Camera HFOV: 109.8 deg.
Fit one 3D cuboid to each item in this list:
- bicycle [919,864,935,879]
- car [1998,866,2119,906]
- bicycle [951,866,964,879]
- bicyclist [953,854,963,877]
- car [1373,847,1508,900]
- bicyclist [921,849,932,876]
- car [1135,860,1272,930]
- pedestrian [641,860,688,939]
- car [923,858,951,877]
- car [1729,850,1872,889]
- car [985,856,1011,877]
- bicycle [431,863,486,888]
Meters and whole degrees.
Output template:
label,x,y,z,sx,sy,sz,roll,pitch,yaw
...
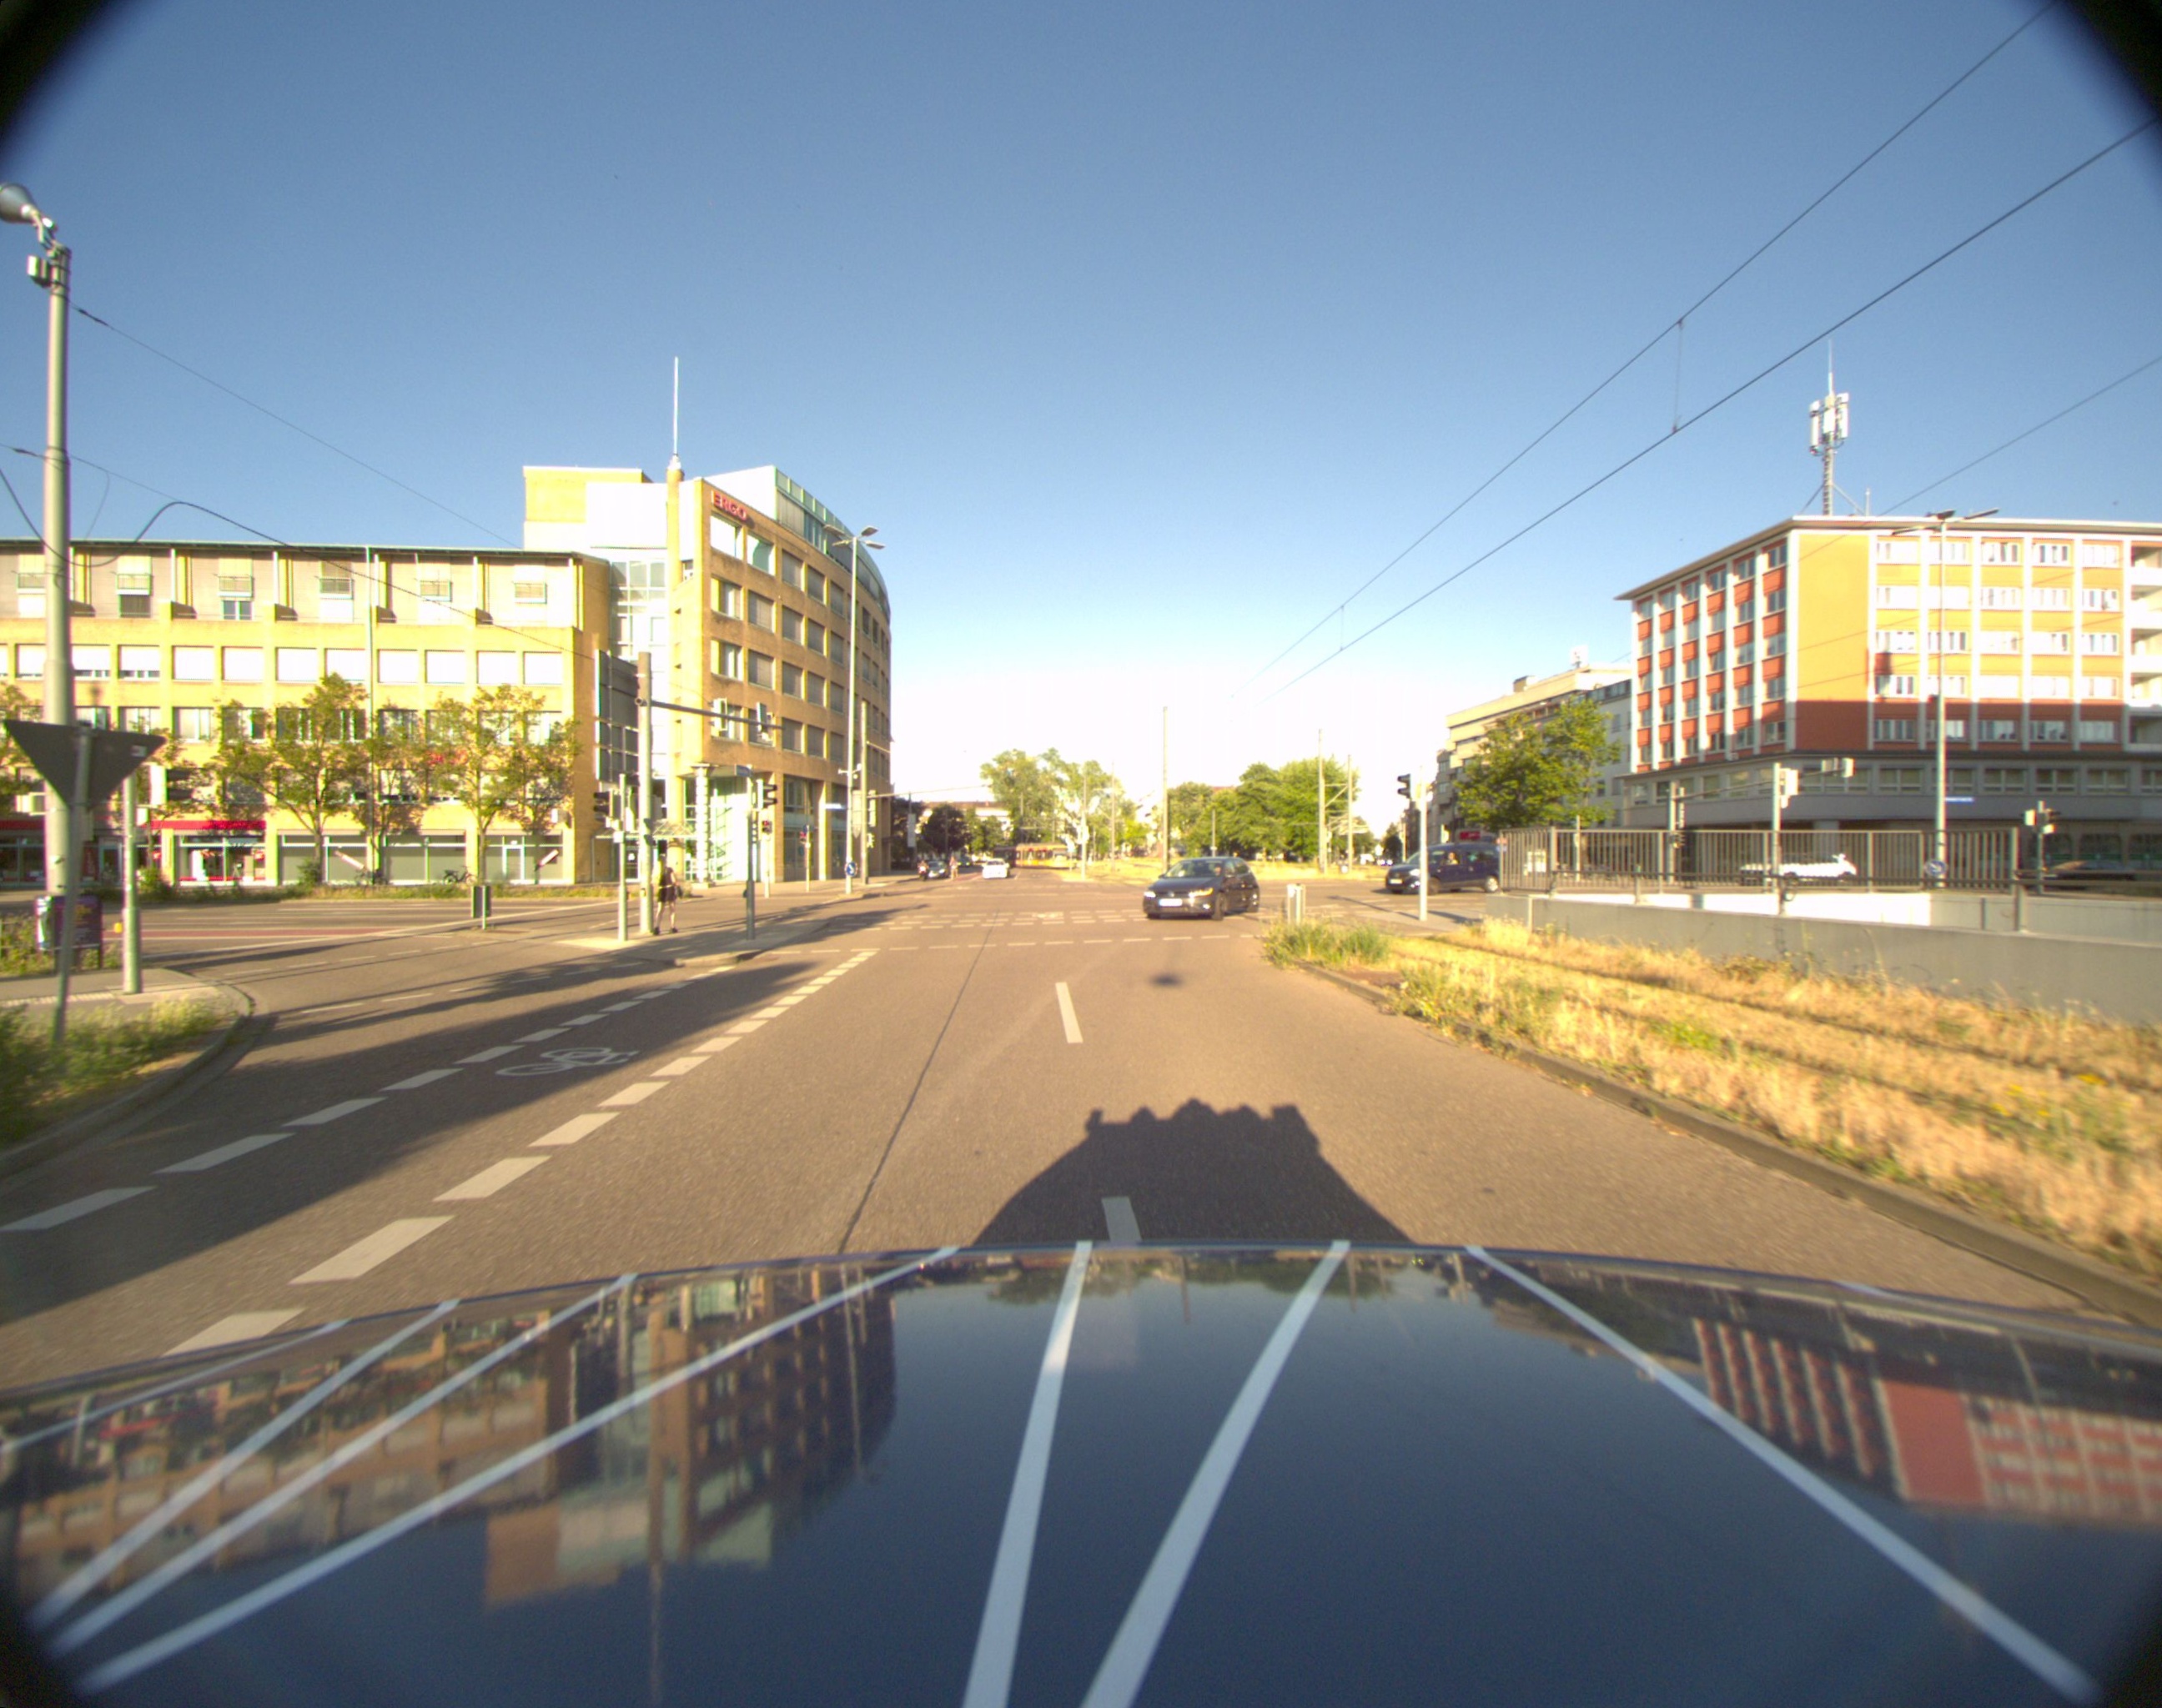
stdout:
label,x,y,z,sx,sy,sz,roll,pitch,yaw
bicycle,-11.165,1.274,55.111,0.700,1.044,1.979,-2,0,0
car,49.199,1.600,38.290,3.998,1.770,1.741,-2,1,-3
bicycle,-8.832,1.304,54.438,0.609,0.923,1.776,0,0,0
bicyclist,-8.834,0.821,54.493,0.552,1.600,0.832,0,0,0
car,12.510,0.639,26.455,4.150,1.722,1.768,0,0,-17
bicyclist,-11.181,0.615,55.034,0.578,1.927,0.697,-2,0,0
car,3.097,0.895,18.434,1.766,1.418,4.253,0,0,32
pedestrian,-9.265,1.000,16.919,0.651,1.714,0.715,0,0,-1
car,-11.605,1.063,61.431,1.770,1.464,4.012,-2,0,-4
car,29.302,0.612,31.015,4.277,1.528,1.834,0,1,-5
car,-6.232,0.910,57.358,1.770,1.464,4.012,-2,0,-4
bicycle,-33.502,1.130,40.896,0.862,1.230,2.091,-1,1,39
